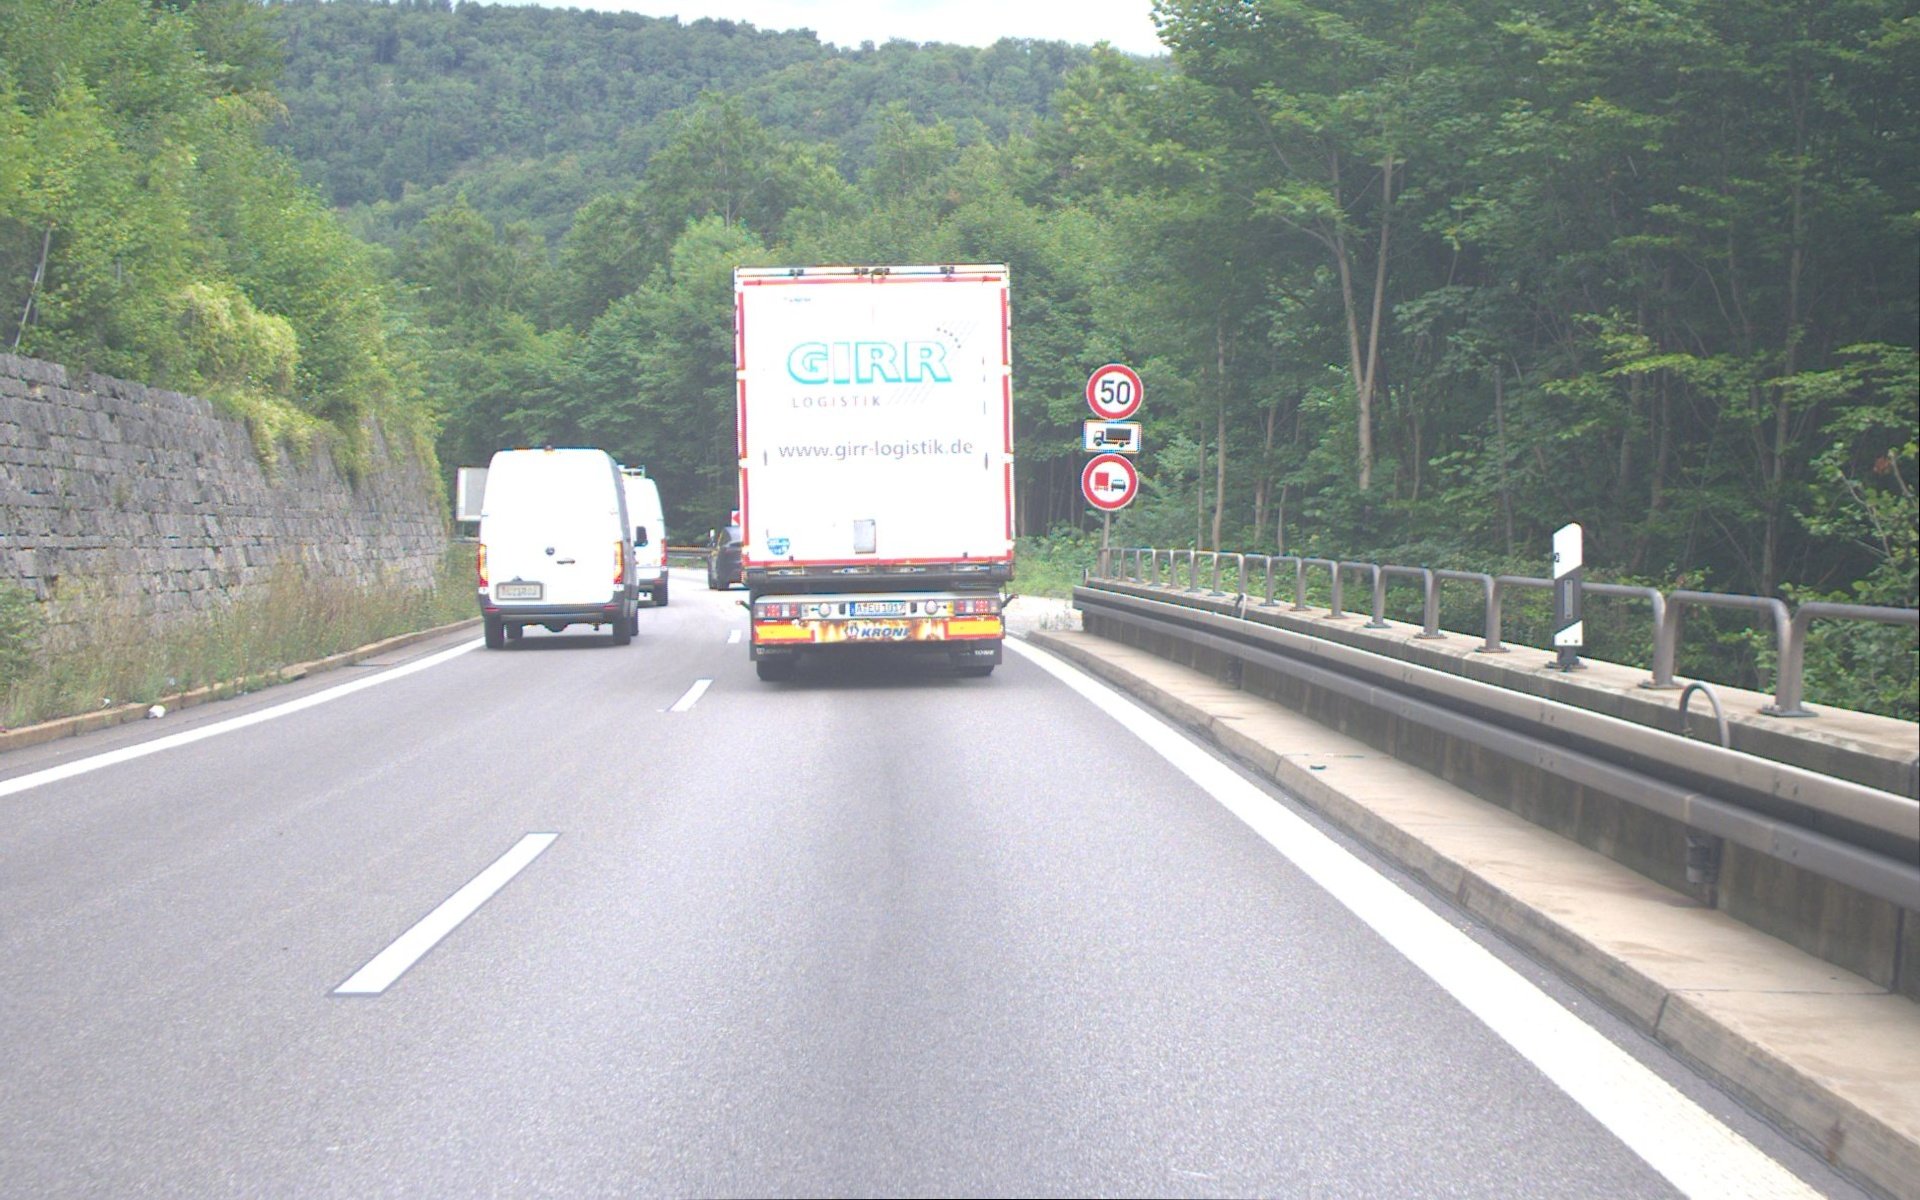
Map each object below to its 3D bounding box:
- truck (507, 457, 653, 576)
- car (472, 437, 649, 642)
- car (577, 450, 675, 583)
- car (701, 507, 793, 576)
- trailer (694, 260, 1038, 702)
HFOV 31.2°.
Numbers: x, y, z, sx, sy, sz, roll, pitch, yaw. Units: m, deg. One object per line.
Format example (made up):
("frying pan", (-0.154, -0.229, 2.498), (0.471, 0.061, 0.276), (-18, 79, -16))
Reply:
("truck", (-13.869, -3.114, 124.322), (3.057, 3.972, 13.703), (-2, 3, -15))
("car", (-5.563, -0.878, 48.657), (1.989, 2.663, 6.937), (1, 1, -3))
("car", (-7.080, -1.761, 72.586), (1.939, 2.663, 5.993), (1, 1, -6))
("car", (-5.357, -1.481, 86.143), (1.993, 1.656, 4.001), (1, 1, -8))
("trailer", (-1.081, -1.348, 37.533), (3.057, 3.972, 12.139), (1, 2, -2))
